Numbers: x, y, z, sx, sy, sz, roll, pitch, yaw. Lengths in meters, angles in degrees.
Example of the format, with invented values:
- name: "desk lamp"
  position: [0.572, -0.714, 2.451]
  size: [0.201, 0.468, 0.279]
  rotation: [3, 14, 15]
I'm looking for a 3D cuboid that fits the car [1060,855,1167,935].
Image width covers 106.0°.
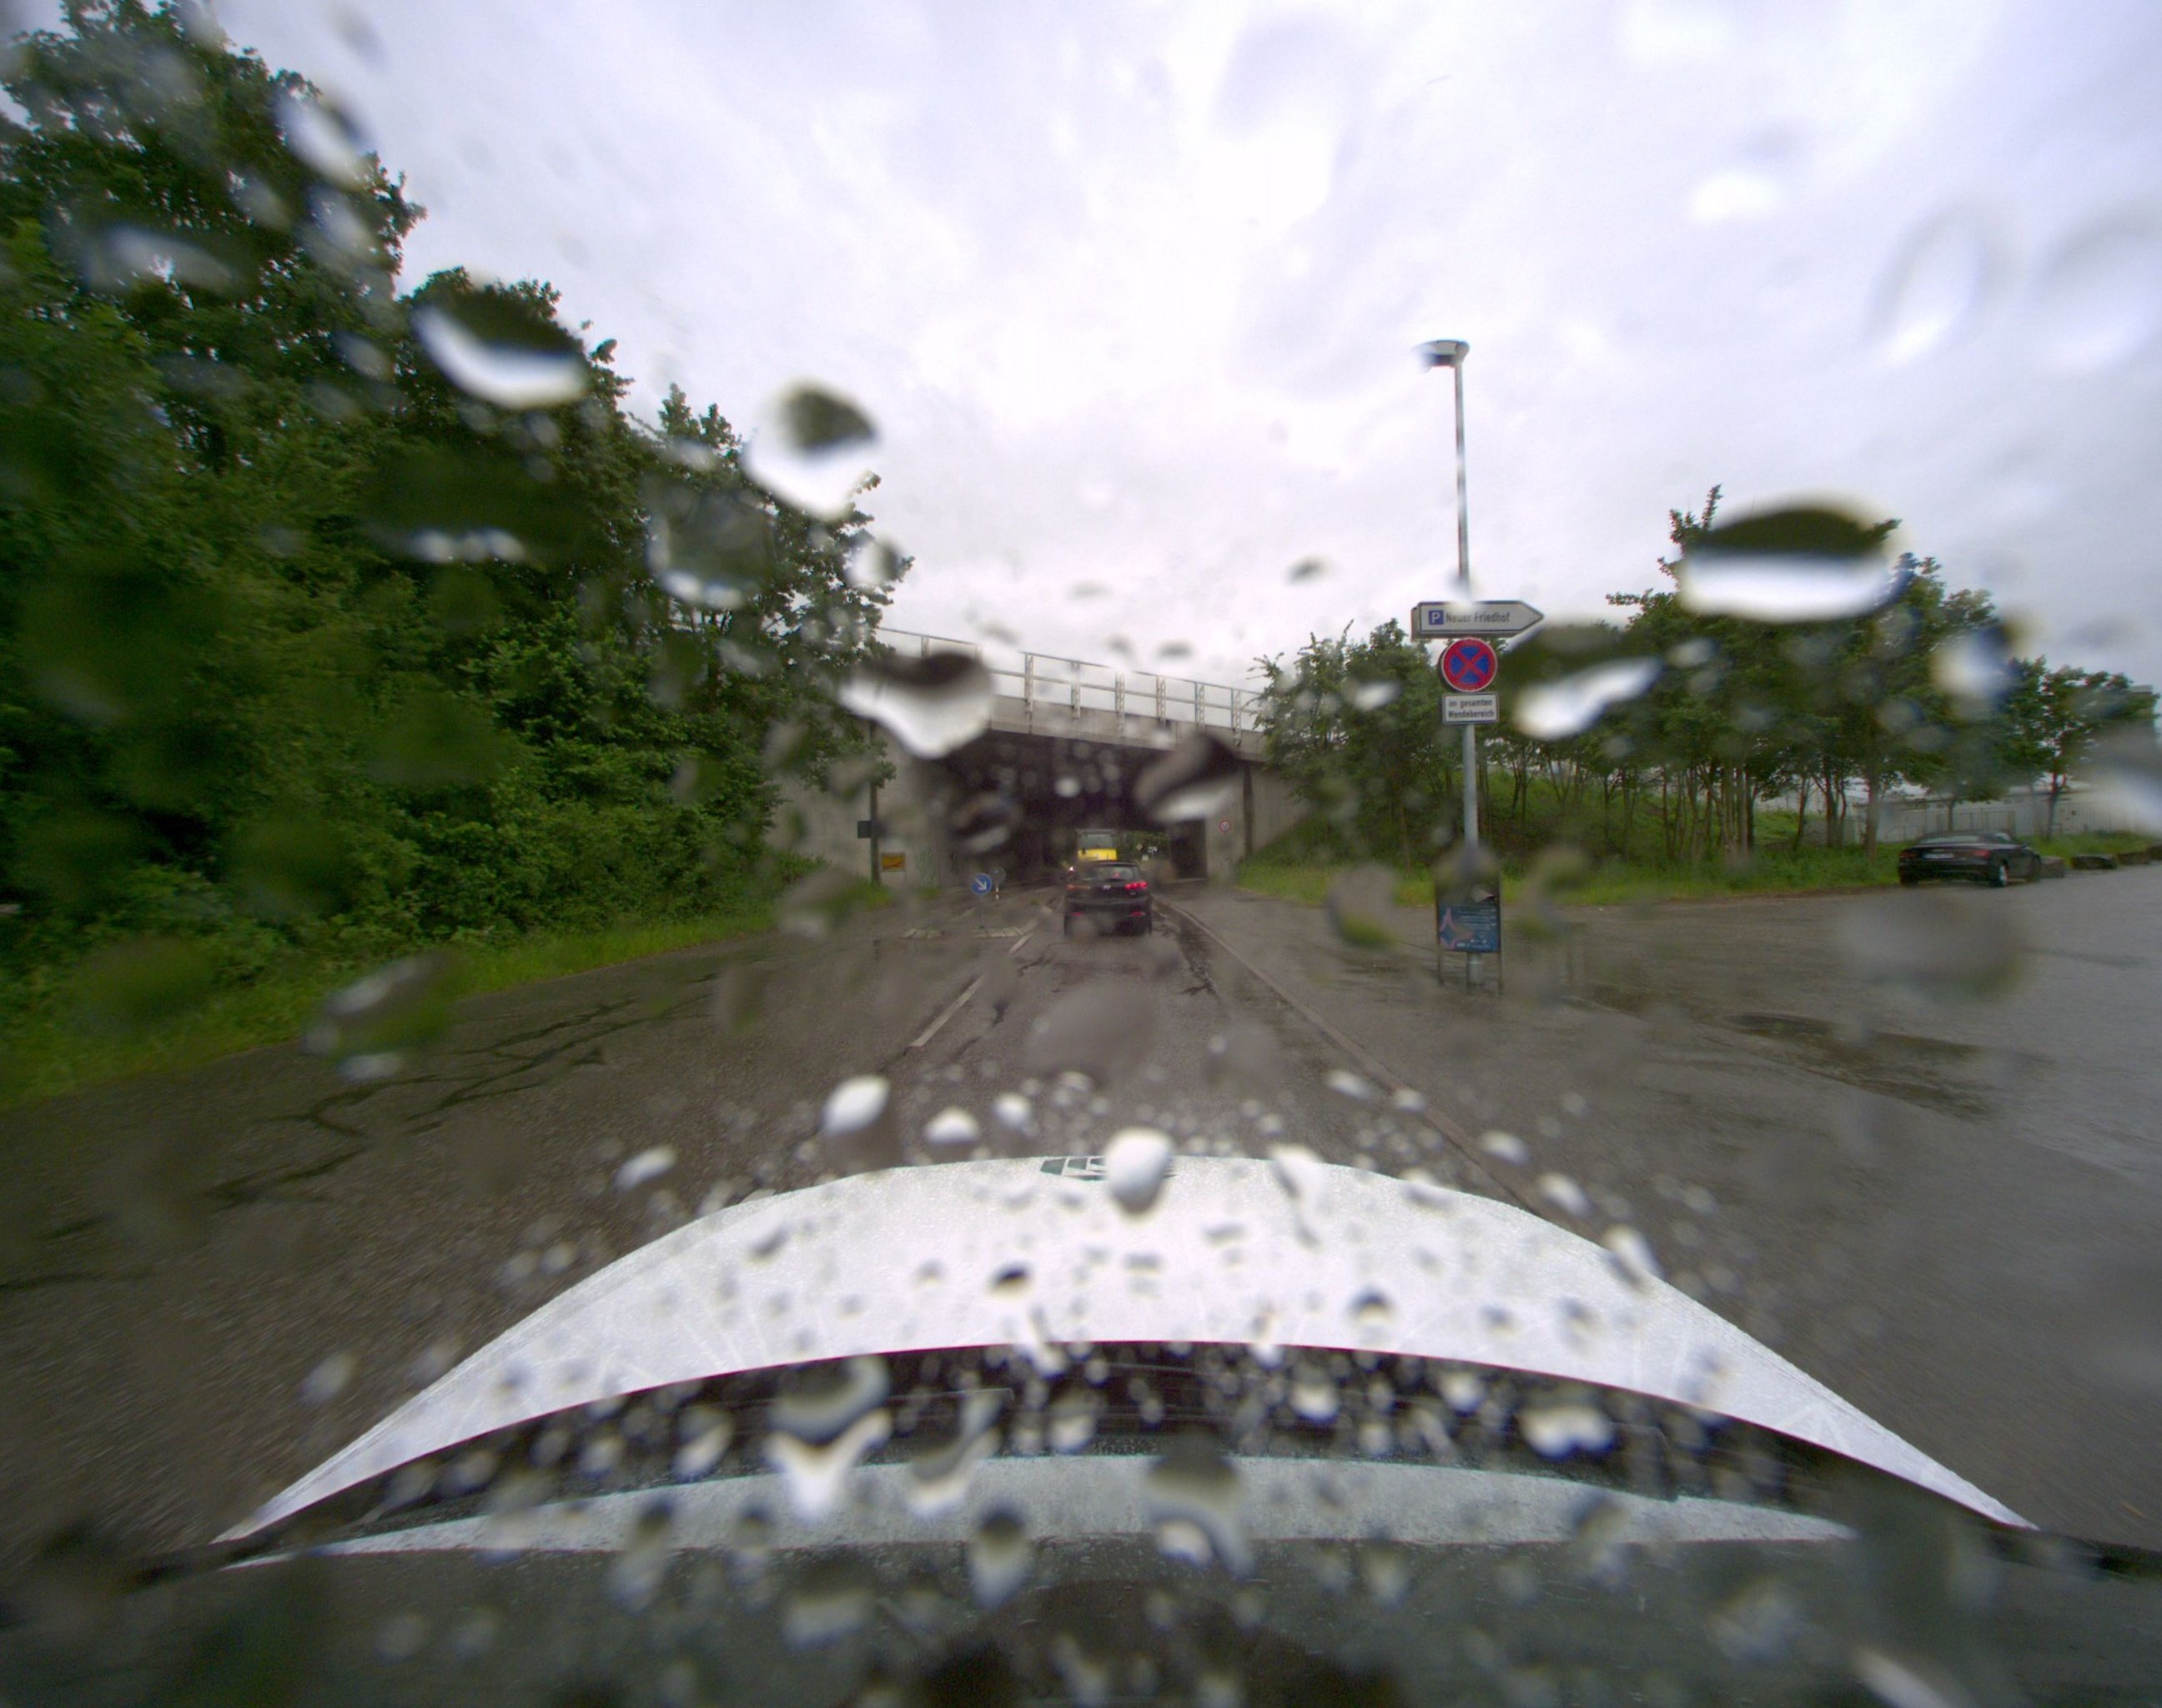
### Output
- name: "car"
  position: [0.638, 0.777, 17.155]
  size: [1.987, 1.487, 4.000]
  rotation: [0, -1, 1]

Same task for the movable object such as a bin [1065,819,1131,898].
- name: "movable object such as a bin"
  position: [0.615, 0.180, 30.930]
  size: [2.238, 2.669, 6.627]
  rotation: [0, -1, 1]

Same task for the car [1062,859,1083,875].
- name: "car"
  position: [-0.755, 1.231, 79.366]
  size: [1.683, 1.487, 4.077]
  rotation: [-1, 0, 4]

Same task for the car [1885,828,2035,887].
- name: "car"
  position: [22.209, 0.094, 20.546]
  size: [4.126, 1.359, 1.885]
  rotation: [0, -1, -33]
